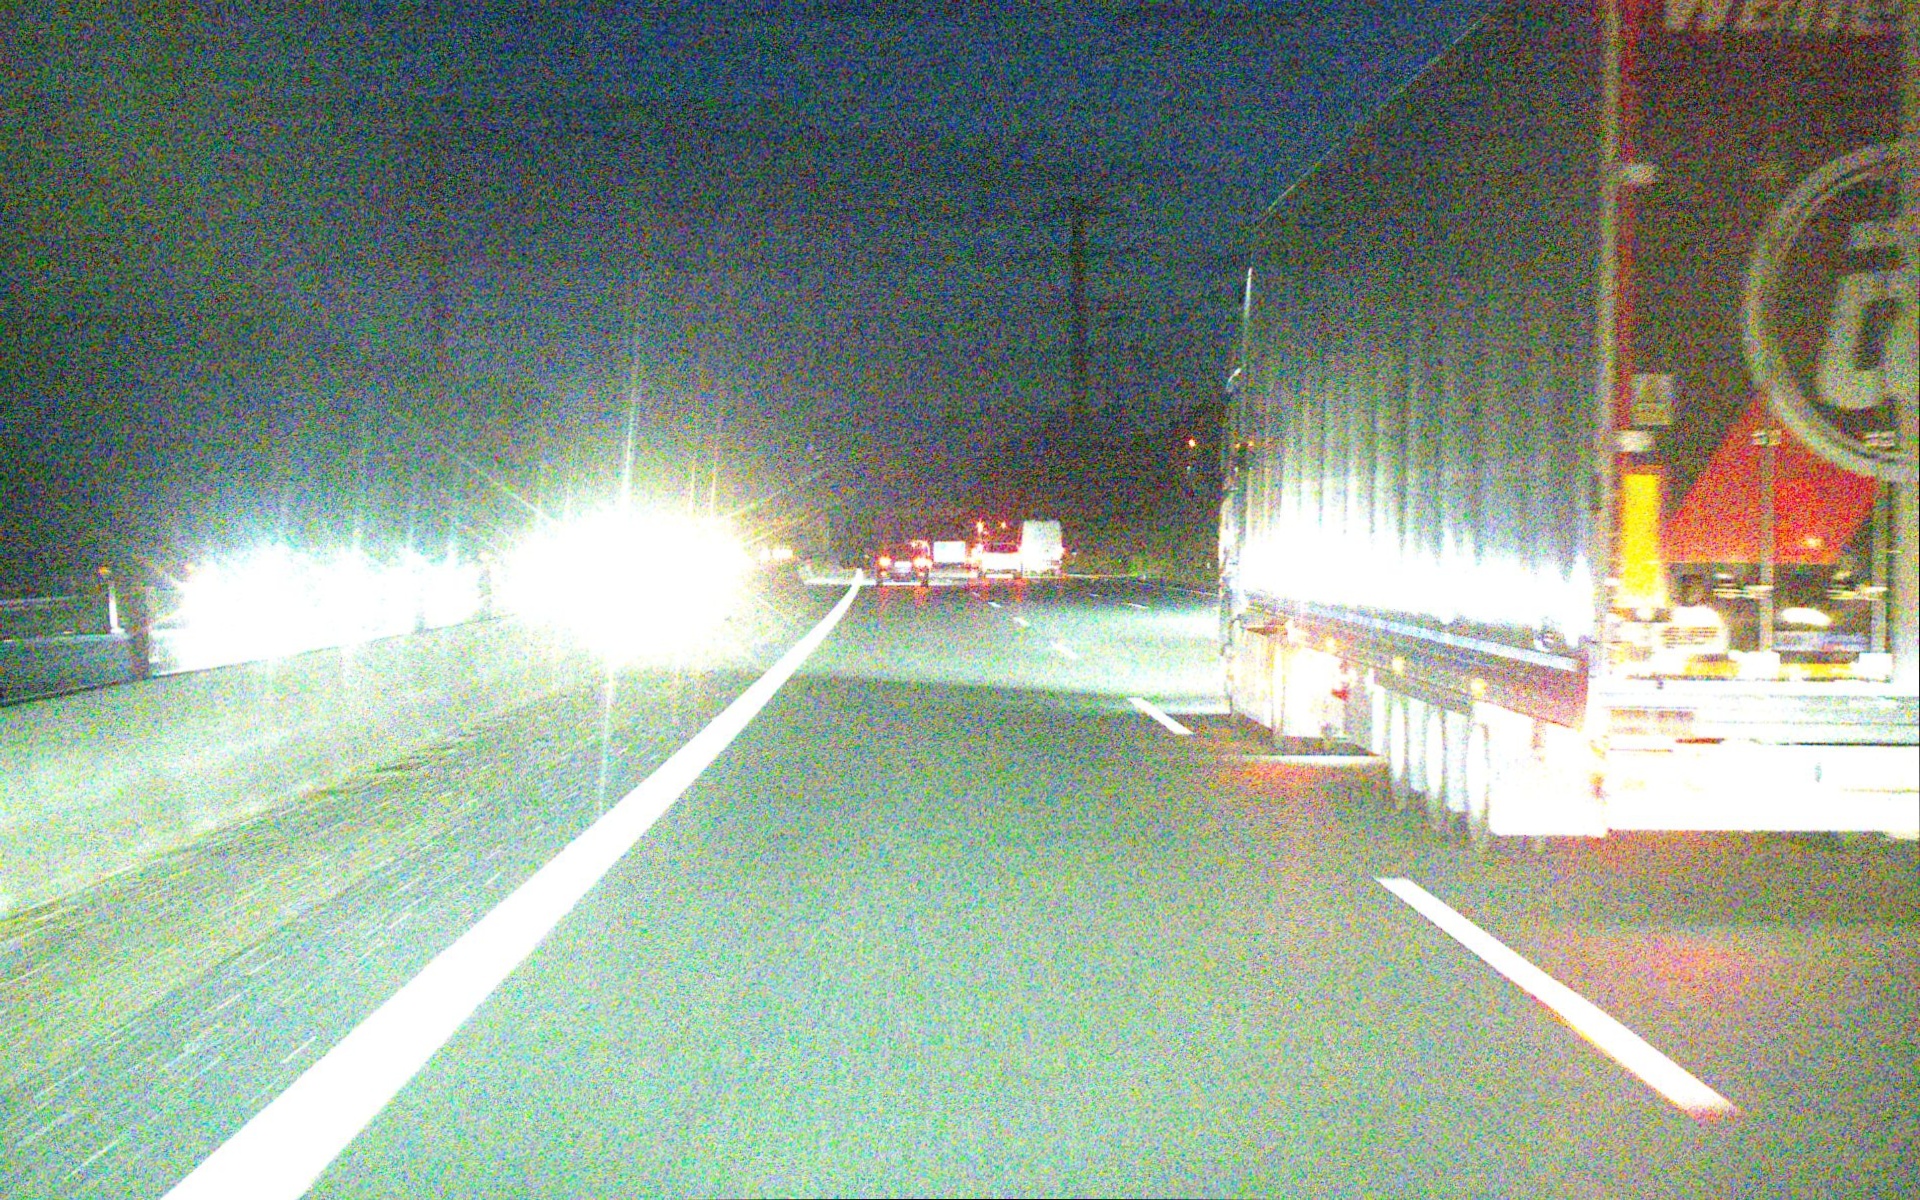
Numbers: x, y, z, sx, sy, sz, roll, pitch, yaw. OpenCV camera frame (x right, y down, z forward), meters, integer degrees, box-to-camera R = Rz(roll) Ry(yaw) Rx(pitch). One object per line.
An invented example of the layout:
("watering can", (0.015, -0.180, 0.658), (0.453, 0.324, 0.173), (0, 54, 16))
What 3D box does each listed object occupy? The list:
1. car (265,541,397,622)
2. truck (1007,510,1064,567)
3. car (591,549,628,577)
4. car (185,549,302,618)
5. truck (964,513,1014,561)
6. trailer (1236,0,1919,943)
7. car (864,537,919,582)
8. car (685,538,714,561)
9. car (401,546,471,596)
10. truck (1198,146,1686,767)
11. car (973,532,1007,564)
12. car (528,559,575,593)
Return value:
("car", (-12.494, -0.401, 68.521), (1.750, 1.473, 4.763), (-2, 1, -1))
("truck", (3.652, -2.952, 166.897), (2.076, 2.682, 7.309), (1, 1, -4))
("car", (-18.483, -1.952, 181.394), (1.631, 1.389, 4.878), (-2, 1, -2))
("car", (-16.884, -0.410, 81.187), (1.750, 1.473, 4.482), (-2, 1, 0))
("truck", (2.043, -4.508, 244.414), (3.044, 3.313, 10.143), (1, 1, -2))
("trailer", (3.669, -0.920, 19.843), (2.742, 4.192, 13.512), (1, 1, -1))
("car", (-2.348, -1.386, 117.411), (1.821, 1.461, 4.248), (1, 1, -2))
("car", (-17.108, -3.314, 225.882), (1.750, 1.473, 4.583), (0, 1, -3))
("car", (-16.928, -0.954, 111.245), (1.750, 1.473, 4.727), (-2, 1, -3))
("truck", (3.528, -1.043, 26.851), (2.661, 4.192, 6.723), (1, 1, -1))
("car", (1.315, -2.295, 150.934), (1.346, 1.382, 3.502), (1, 1, -2))
("car", (-17.651, -1.054, 148.705), (1.661, 1.329, 4.810), (-2, 1, -3))
